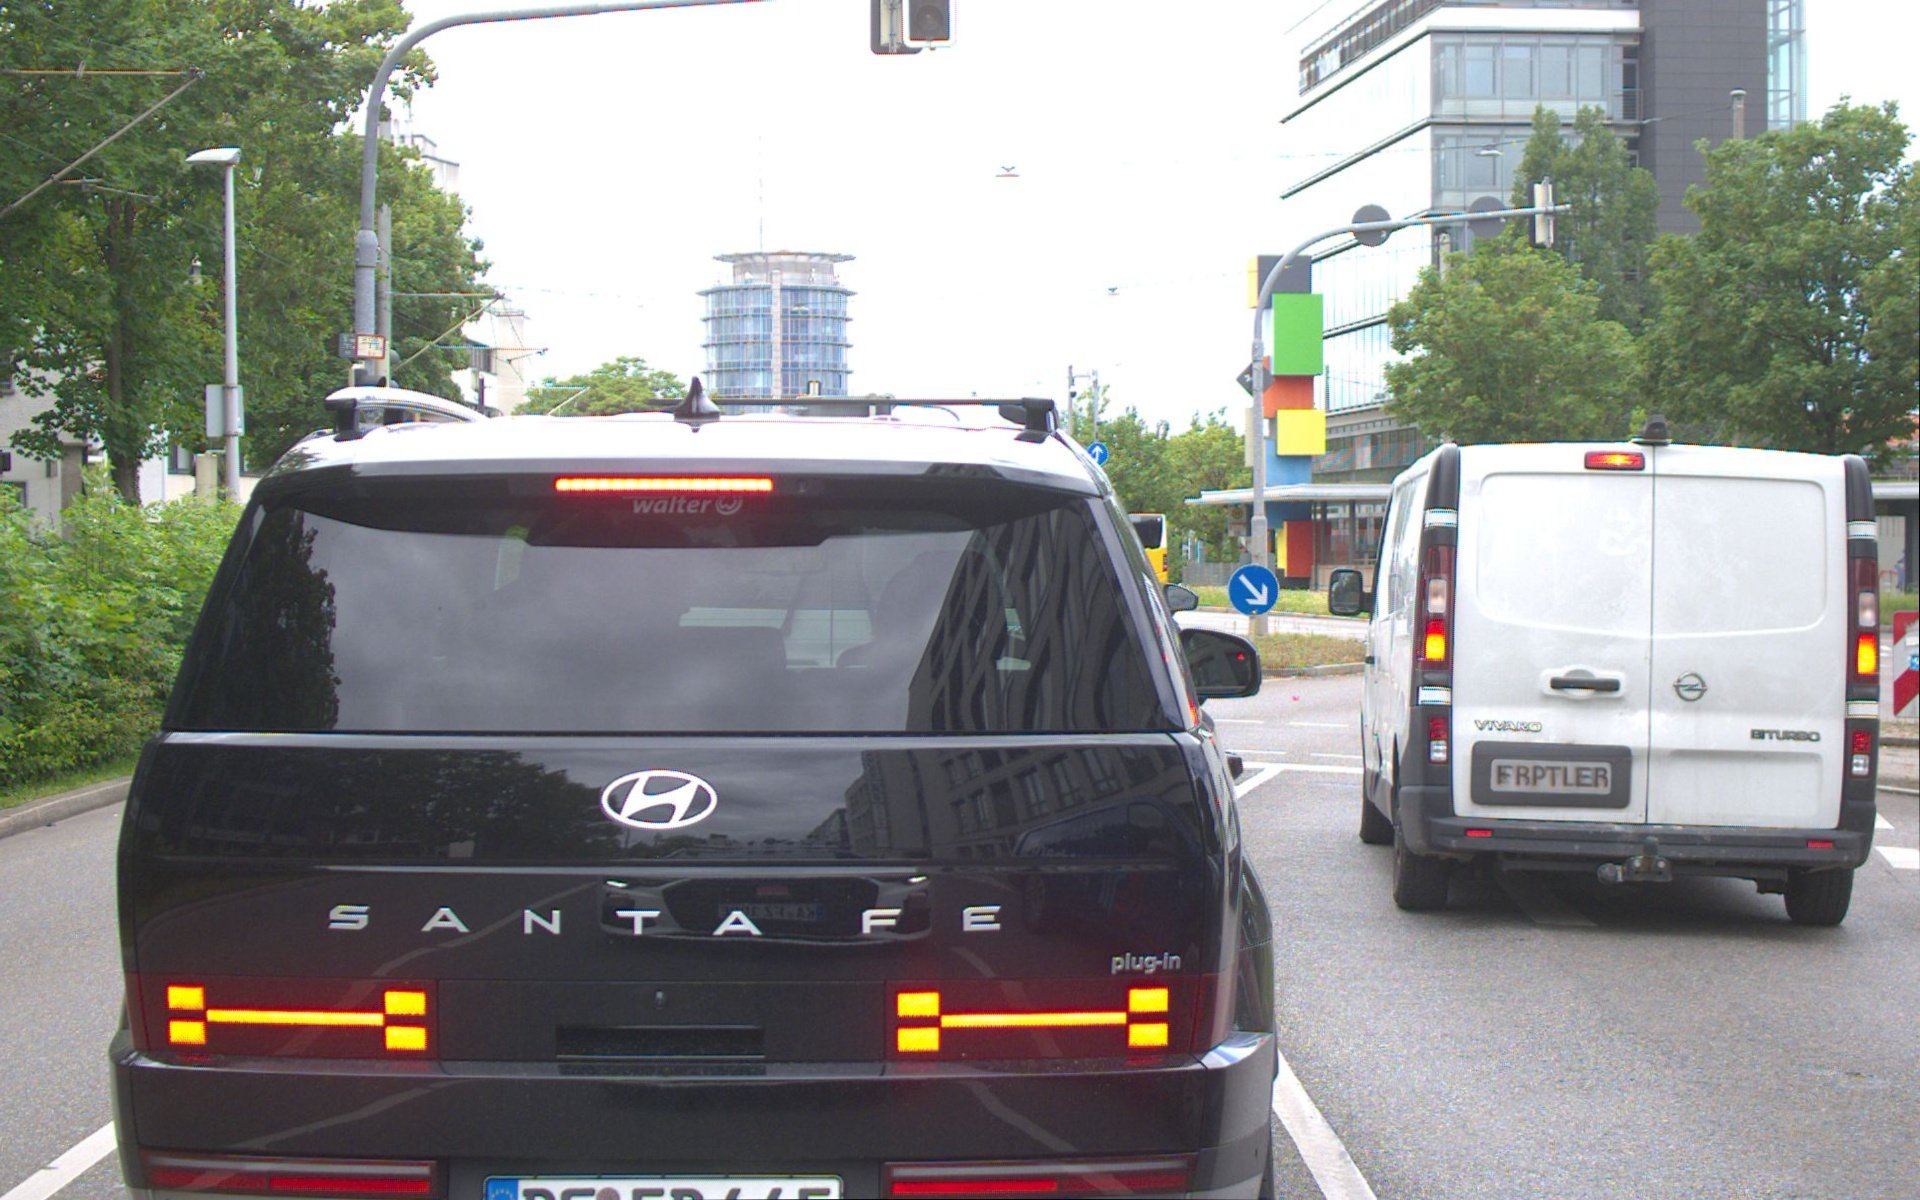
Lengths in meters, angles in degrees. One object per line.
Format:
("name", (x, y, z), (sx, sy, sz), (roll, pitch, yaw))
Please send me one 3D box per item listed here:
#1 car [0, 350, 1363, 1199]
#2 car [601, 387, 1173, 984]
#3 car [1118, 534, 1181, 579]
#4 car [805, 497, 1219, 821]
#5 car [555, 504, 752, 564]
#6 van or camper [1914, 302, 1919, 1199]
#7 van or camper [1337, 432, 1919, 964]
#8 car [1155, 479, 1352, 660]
("car", (-0.414, 0.511, 6.544), (1.869, 1.754, 3.880), (0, 1, -1))
("car", (-0.266, 0.252, 13.483), (1.915, 1.996, 3.880), (0, 1, -1))
("car", (7.239, -1.660, 131.812), (1.993, 1.678, 4.000), (0, 0, -3))
("car", (0.428, 0.296, 20.503), (1.776, 1.711, 4.336), (1, 0, 10))
("car", (-8.373, -1.792, 93.975), (5.281, 1.590, 2.000), (0, 0, -6))
("van or camper", (2.405, 0.544, 2.714), (1.859, 1.904, 5.032), (0, 1, -1))
("van or camper", (2.818, 0.330, 15.428), (1.994, 2.007, 4.652), (1, 1, 4))
("car", (3.401, -0.354, 40.520), (1.993, 2.007, 4.000), (1, 0, 1))
